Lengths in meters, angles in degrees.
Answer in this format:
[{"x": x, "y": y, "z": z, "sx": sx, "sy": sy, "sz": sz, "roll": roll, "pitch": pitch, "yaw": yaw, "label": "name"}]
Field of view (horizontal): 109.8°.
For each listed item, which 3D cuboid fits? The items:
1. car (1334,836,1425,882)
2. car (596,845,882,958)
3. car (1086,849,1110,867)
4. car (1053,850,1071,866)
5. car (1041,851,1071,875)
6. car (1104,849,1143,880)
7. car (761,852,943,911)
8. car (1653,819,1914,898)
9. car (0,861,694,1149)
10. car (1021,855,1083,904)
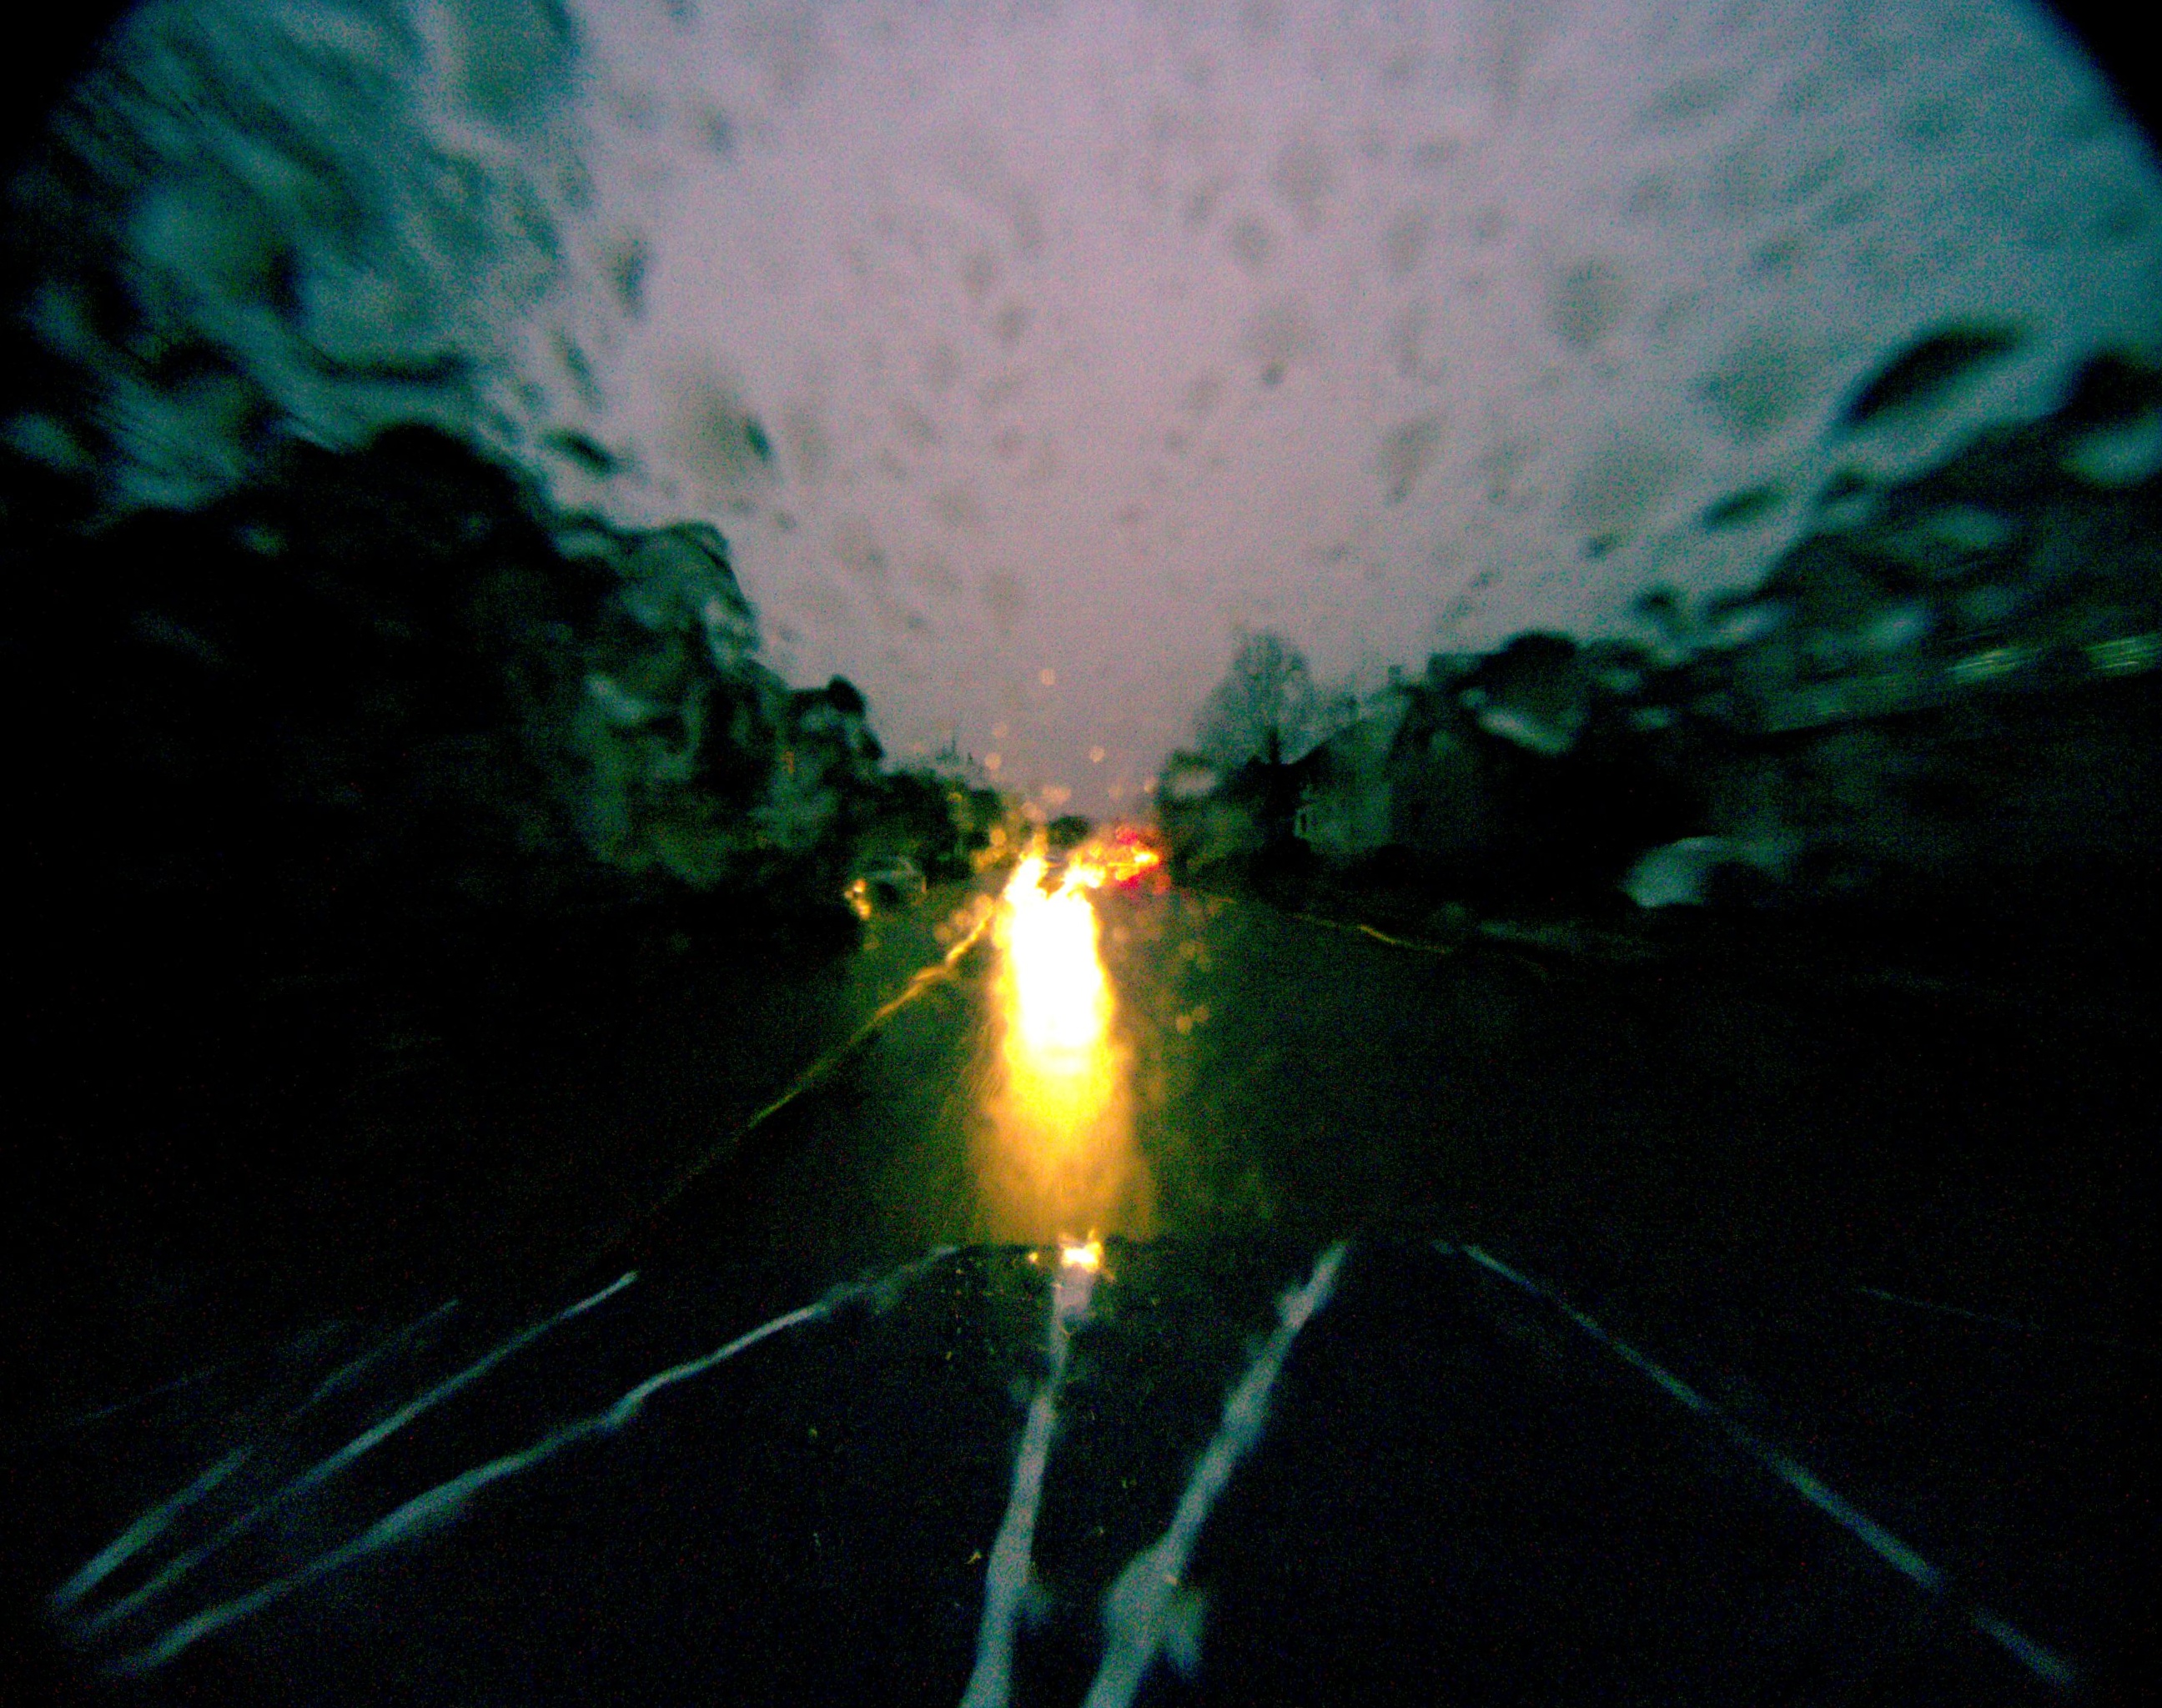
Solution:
[{"x": 12.311, "y": 0.180, "z": 31.679, "sx": 1.999, "sy": 1.746, "sz": 4.567, "roll": -1, "pitch": 1, "yaw": 0, "label": "car"}, {"x": -5.857, "y": 0.771, "z": 13.481, "sx": 4.113, "sy": 1.696, "sz": 1.999, "roll": -2, "pitch": 2, "yaw": -2, "label": "car"}, {"x": 1.388, "y": 0.332, "z": 64.837, "sx": 1.709, "sy": 1.433, "sz": 4.422, "roll": 0, "pitch": 1, "yaw": -4, "label": "car"}, {"x": -1.973, "y": 0.426, "z": 80.989, "sx": 1.776, "sy": 1.609, "sz": 3.871, "roll": -2, "pitch": 1, "yaw": -1, "label": "car"}, {"x": -1.799, "y": 0.635, "z": 55.470, "sx": 1.999, "sy": 1.660, "sz": 3.999, "roll": -2, "pitch": 1, "yaw": 0, "label": "car"}, {"x": 2.298, "y": 0.547, "z": 42.113, "sx": 1.819, "sy": 1.623, "sz": 4.223, "roll": 0, "pitch": 0, "yaw": -2, "label": "car"}, {"x": -6.656, "y": 0.773, "z": 22.425, "sx": 4.745, "sy": 1.620, "sz": 1.907, "roll": -1, "pitch": 1, "yaw": 1, "label": "car"}, {"x": 17.382, "y": 0.107, "z": 19.030, "sx": 4.561, "sy": 1.789, "sz": 1.912, "roll": -1, "pitch": 1, "yaw": 6, "label": "car"}, {"x": -5.682, "y": 0.902, "z": 6.736, "sx": 1.898, "sy": 1.545, "sz": 4.755, "roll": -1, "pitch": 0, "yaw": 2, "label": "car"}, {"x": -1.032, "y": 0.830, "z": 26.846, "sx": 1.999, "sy": 1.575, "sz": 3.999, "roll": -1, "pitch": 0, "yaw": -3, "label": "car"}]
